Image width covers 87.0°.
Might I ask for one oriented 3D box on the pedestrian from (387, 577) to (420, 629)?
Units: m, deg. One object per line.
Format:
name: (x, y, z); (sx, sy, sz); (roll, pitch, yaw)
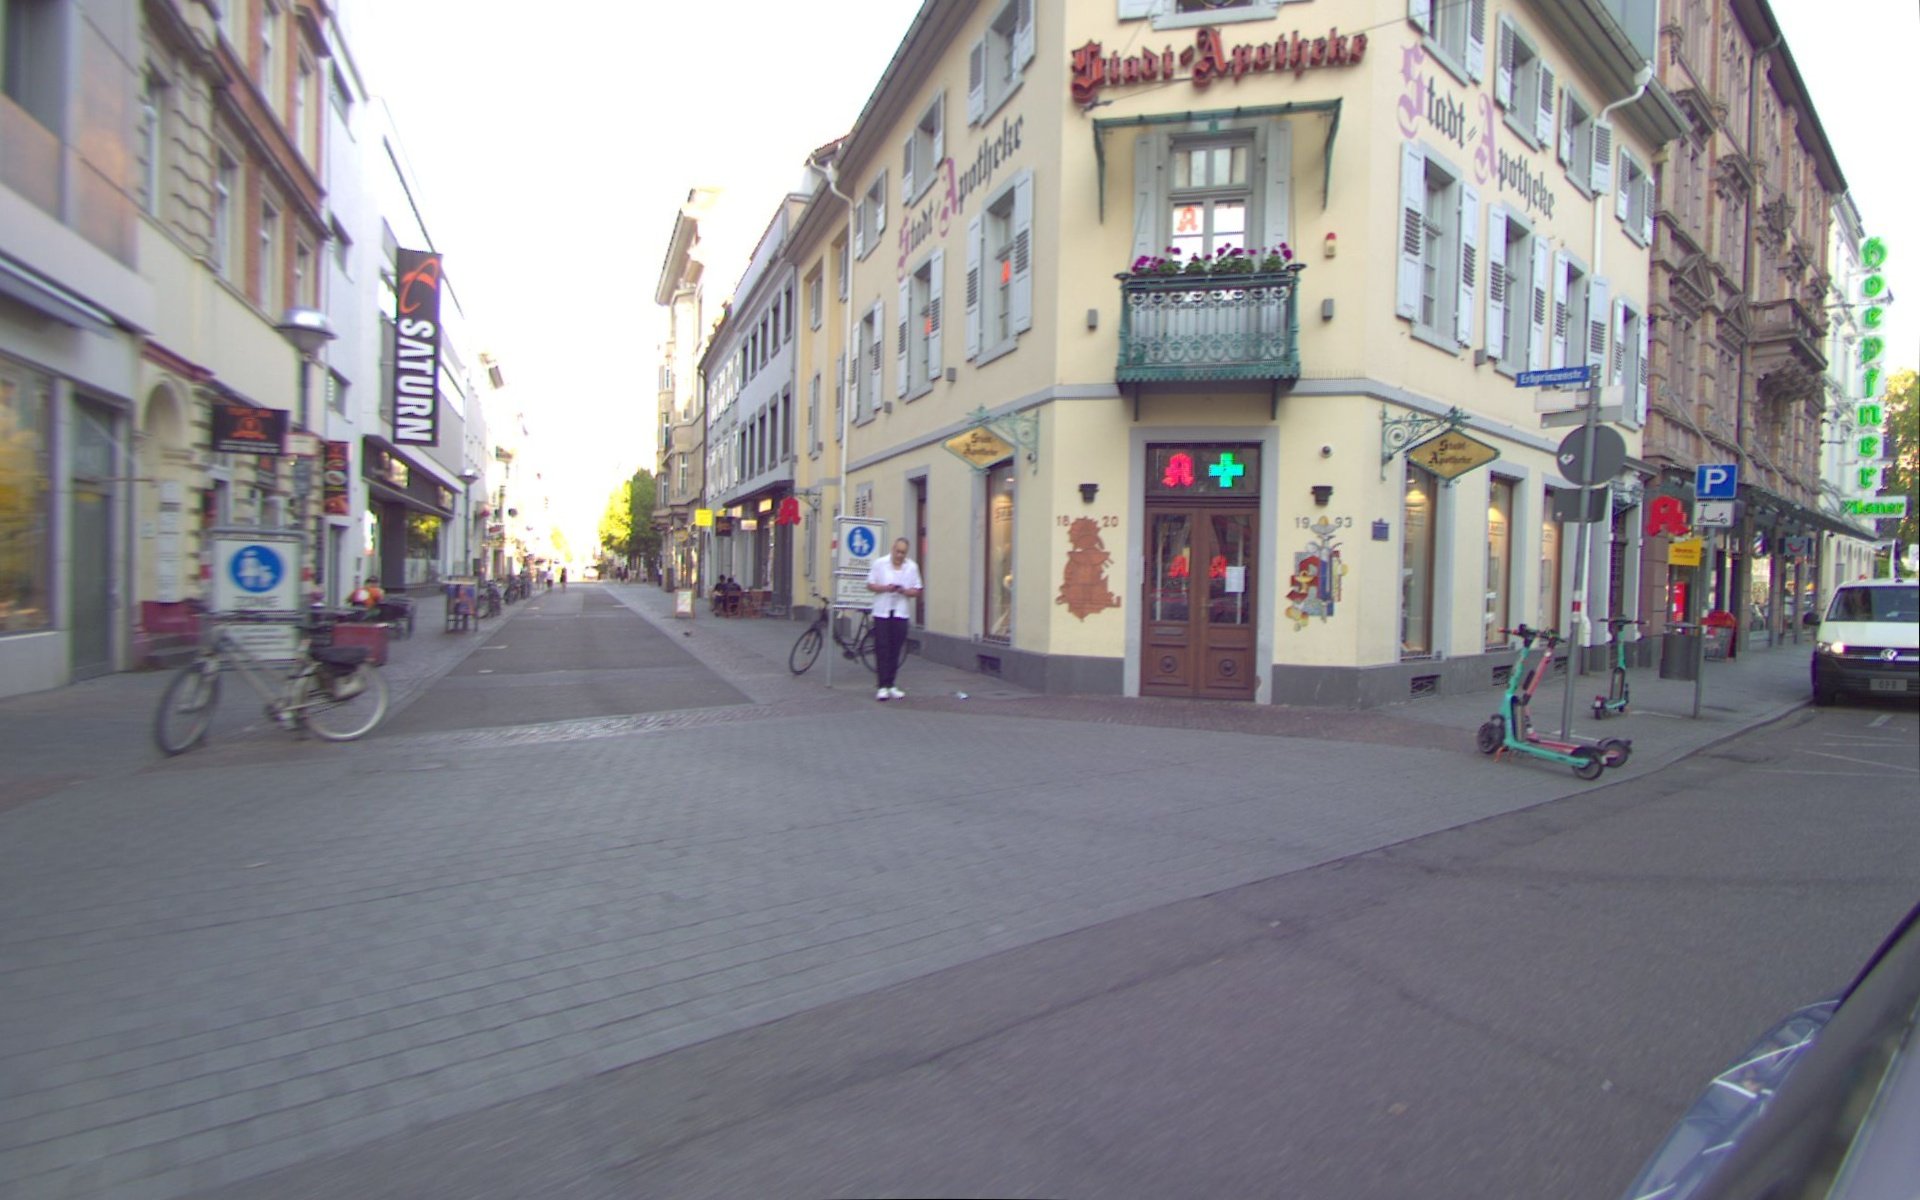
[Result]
pedestrian: (-12.495, 0.058, 22.722); (0.553, 1.137, 0.526); (1, 1, -19)

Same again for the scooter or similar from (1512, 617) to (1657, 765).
scooter or similar: (5.665, 0.809, 9.220); (1.033, 1.249, 0.271); (2, 2, 16)

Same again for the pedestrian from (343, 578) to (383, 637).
pedestrian: (-11.707, 0.140, 19.855); (0.553, 1.137, 0.526); (1, 1, -19)

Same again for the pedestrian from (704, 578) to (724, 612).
pedestrian: (-8.264, -0.175, 33.998); (0.553, 1.137, 0.526); (1, 1, -19)

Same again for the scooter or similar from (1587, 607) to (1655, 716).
scooter or similar: (8.024, 0.718, 12.269); (1.284, 1.249, 0.272); (0, 3, -39)

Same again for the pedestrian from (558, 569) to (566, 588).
pedestrian: (-24.108, -1.292, 61.331); (0.384, 1.137, 0.415); (1, 1, -19)

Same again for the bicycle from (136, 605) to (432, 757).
bicycle: (-5.198, 0.585, 7.847); (1.813, 1.042, 0.771); (2, -1, -40)

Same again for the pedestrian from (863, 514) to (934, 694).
pedestrian: (-0.727, 0.036, 11.851); (0.632, 2.039, 0.544); (1, 1, -26)

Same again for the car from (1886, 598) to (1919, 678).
car: (19.907, 0.719, 20.154); (4.697, 1.502, 1.807); (1, -1, -43)

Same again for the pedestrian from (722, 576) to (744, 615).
pedestrian: (-6.678, -0.132, 29.814); (0.553, 1.137, 0.526); (1, 1, -19)

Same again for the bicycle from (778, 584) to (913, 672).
bicycle: (-1.626, 0.372, 14.256); (1.808, 1.196, 0.773); (0, 0, -12)

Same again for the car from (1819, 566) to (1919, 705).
car: (15.072, 0.481, 15.891); (4.621, 1.948, 1.878); (-1, 0, -43)

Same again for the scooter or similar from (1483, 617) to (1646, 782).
scooter or similar: (5.180, 0.809, 8.733); (0.310, 1.249, 1.182); (1, 2, -26)

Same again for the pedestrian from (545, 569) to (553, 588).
pedestrian: (-24.764, -1.287, 60.968); (0.384, 1.137, 0.415); (1, 1, -19)
